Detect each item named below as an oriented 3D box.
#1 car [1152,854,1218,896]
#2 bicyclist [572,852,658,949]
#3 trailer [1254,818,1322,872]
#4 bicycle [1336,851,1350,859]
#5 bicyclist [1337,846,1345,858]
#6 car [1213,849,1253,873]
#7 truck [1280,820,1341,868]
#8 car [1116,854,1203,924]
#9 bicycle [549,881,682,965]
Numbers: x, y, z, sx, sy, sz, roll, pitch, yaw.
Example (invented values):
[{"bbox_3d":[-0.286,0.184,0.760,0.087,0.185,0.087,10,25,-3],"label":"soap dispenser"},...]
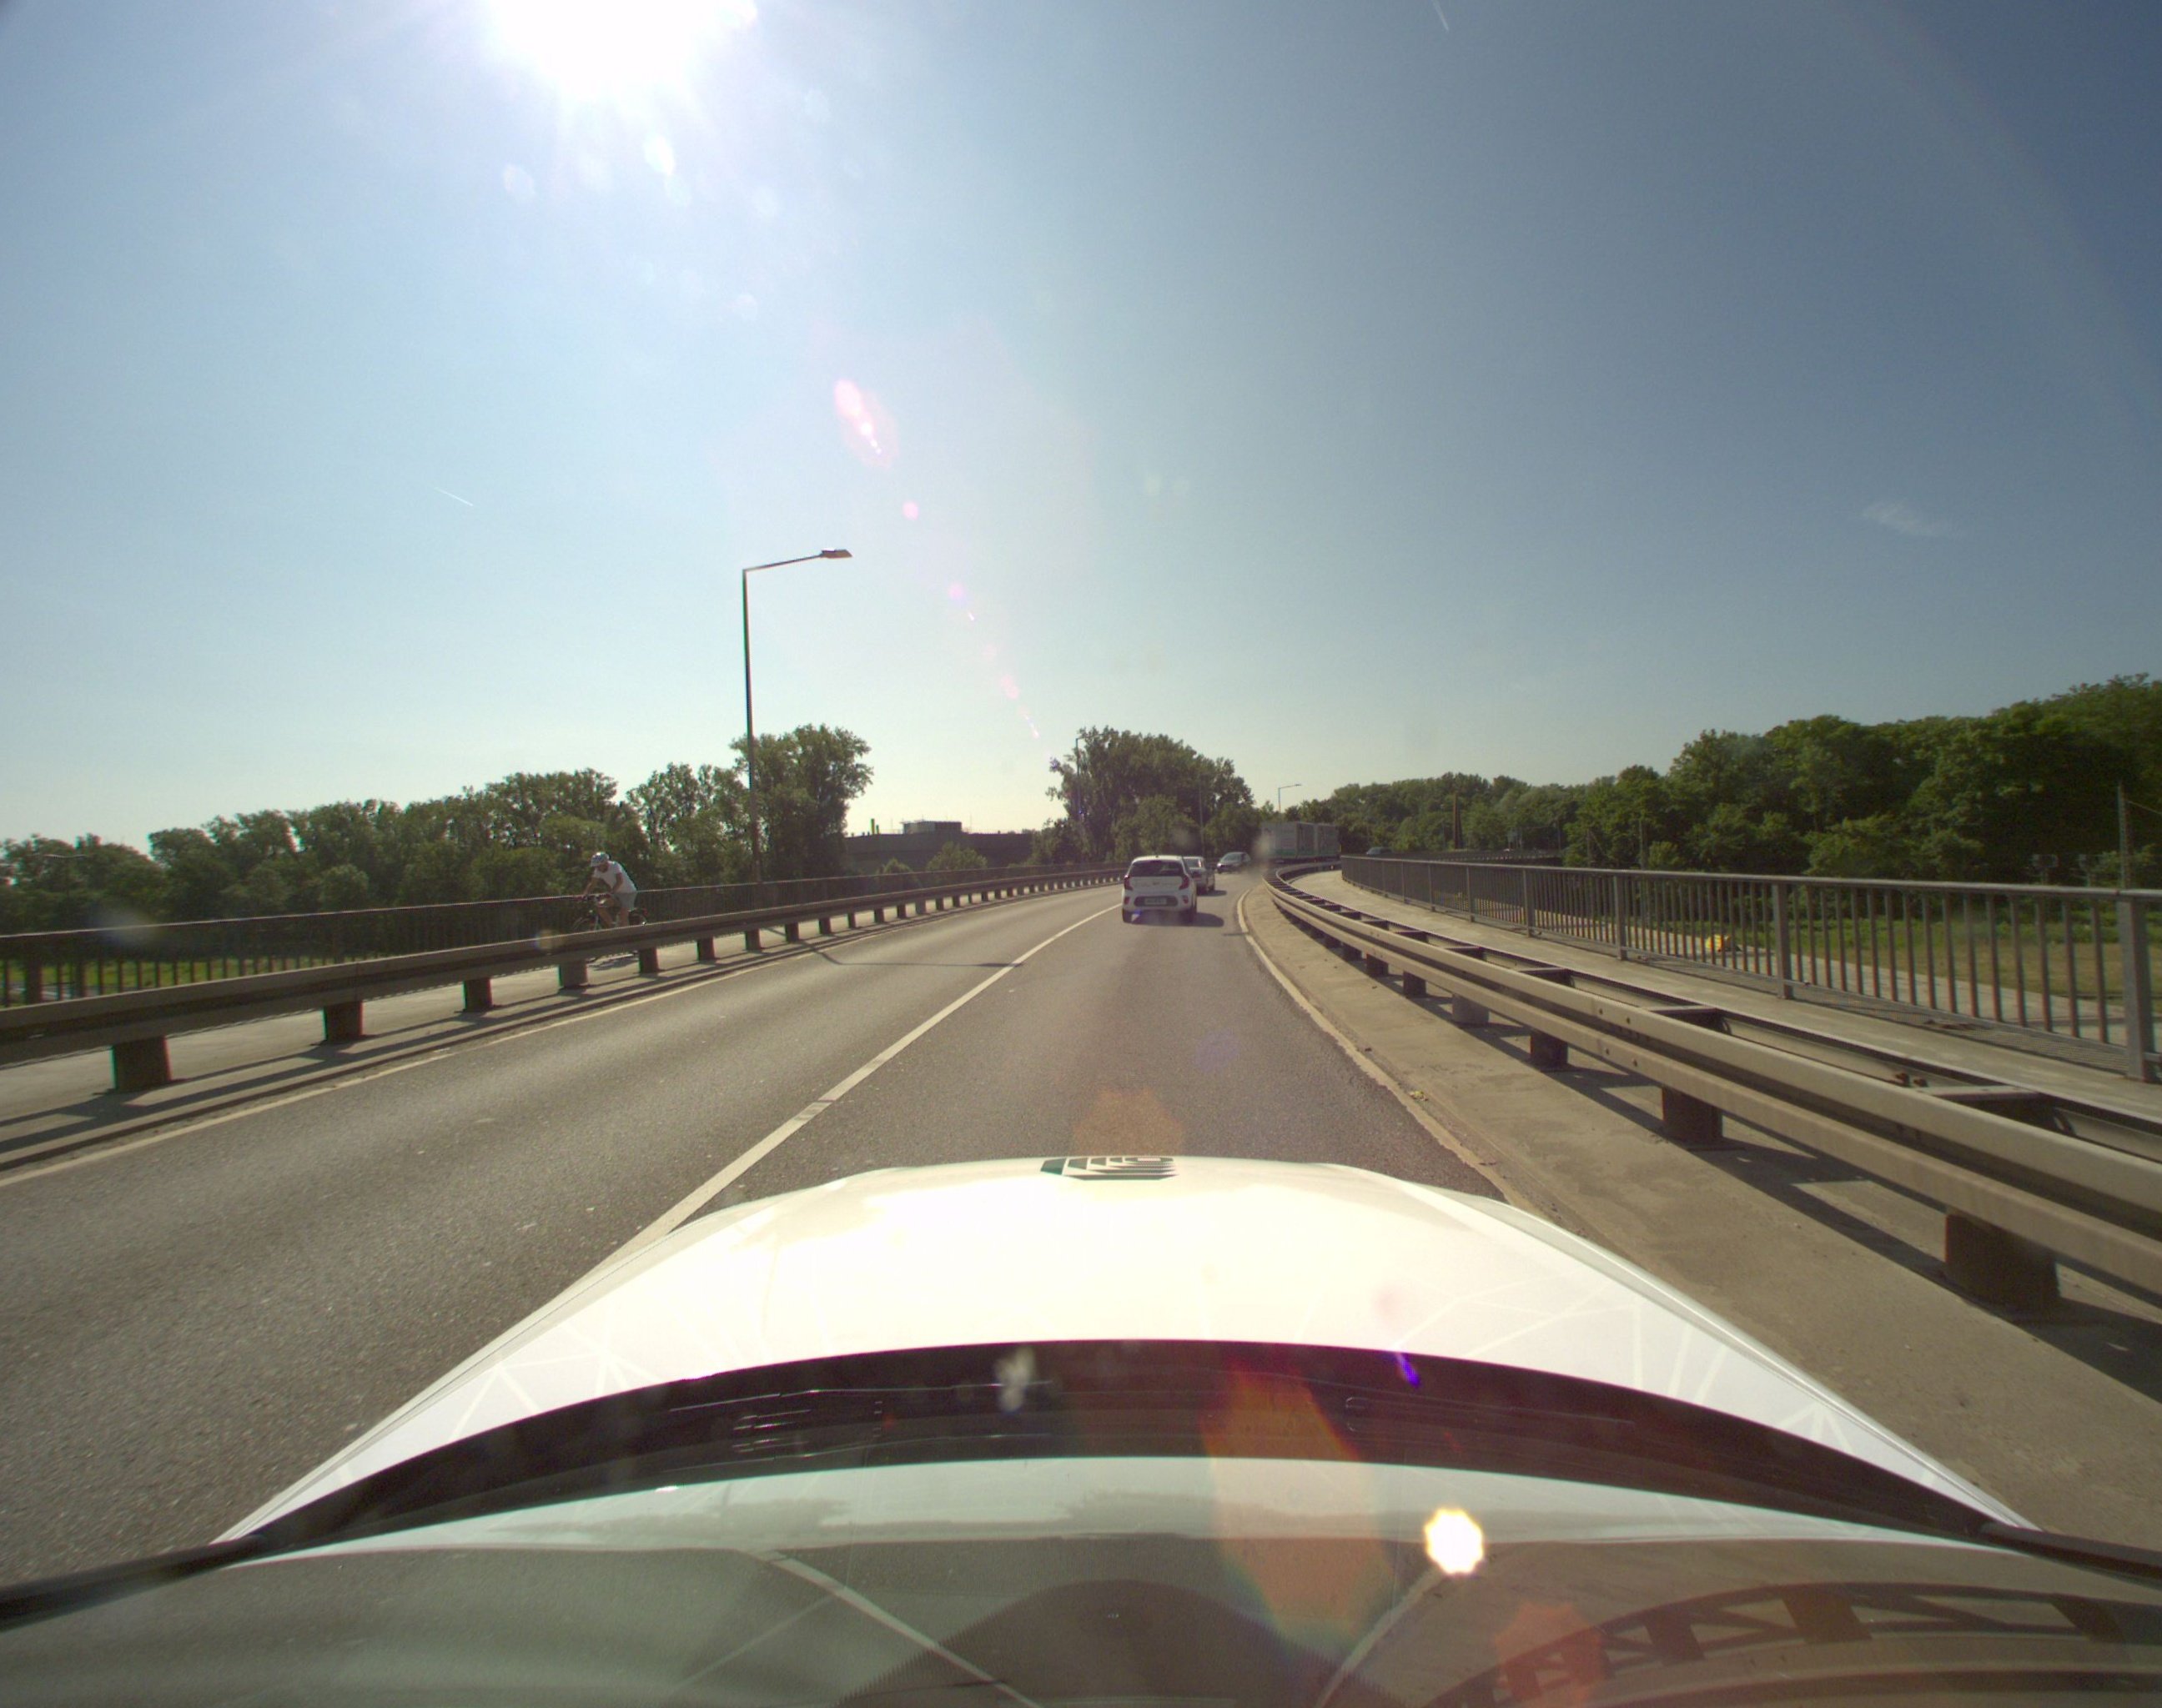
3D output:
[{"bbox_3d":[4.092,0.752,31.410,1.925,1.486,4.919,-1,0,14],"label":"car"},{"bbox_3d":[-7.337,0.715,12.863,0.605,1.439,1.080,-4,-1,6],"label":"bicyclist"},{"bbox_3d":[15.620,-0.736,61.024,3.194,3.757,7.872,1,2,27],"label":"trailer"},{"bbox_3d":[31.302,0.144,97.377,0.919,0.891,1.980,-1,0,38],"label":"bicycle"},{"bbox_3d":[31.099,-0.240,97.344,0.654,1.496,1.023,-1,2,36],"label":"bicyclist"},{"bbox_3d":[11.484,0.481,61.261,1.716,1.625,4.329,-2,0,27],"label":"car"},{"bbox_3d":[19.302,-0.914,68.113,3.230,3.757,8.422,1,2,27],"label":"truck"},{"bbox_3d":[1.996,0.787,19.744,1.690,1.494,4.012,0,-1,11],"label":"car"},{"bbox_3d":[-7.304,1.042,12.924,0.609,1.135,2.153,-4,-1,7],"label":"bicycle"}]
